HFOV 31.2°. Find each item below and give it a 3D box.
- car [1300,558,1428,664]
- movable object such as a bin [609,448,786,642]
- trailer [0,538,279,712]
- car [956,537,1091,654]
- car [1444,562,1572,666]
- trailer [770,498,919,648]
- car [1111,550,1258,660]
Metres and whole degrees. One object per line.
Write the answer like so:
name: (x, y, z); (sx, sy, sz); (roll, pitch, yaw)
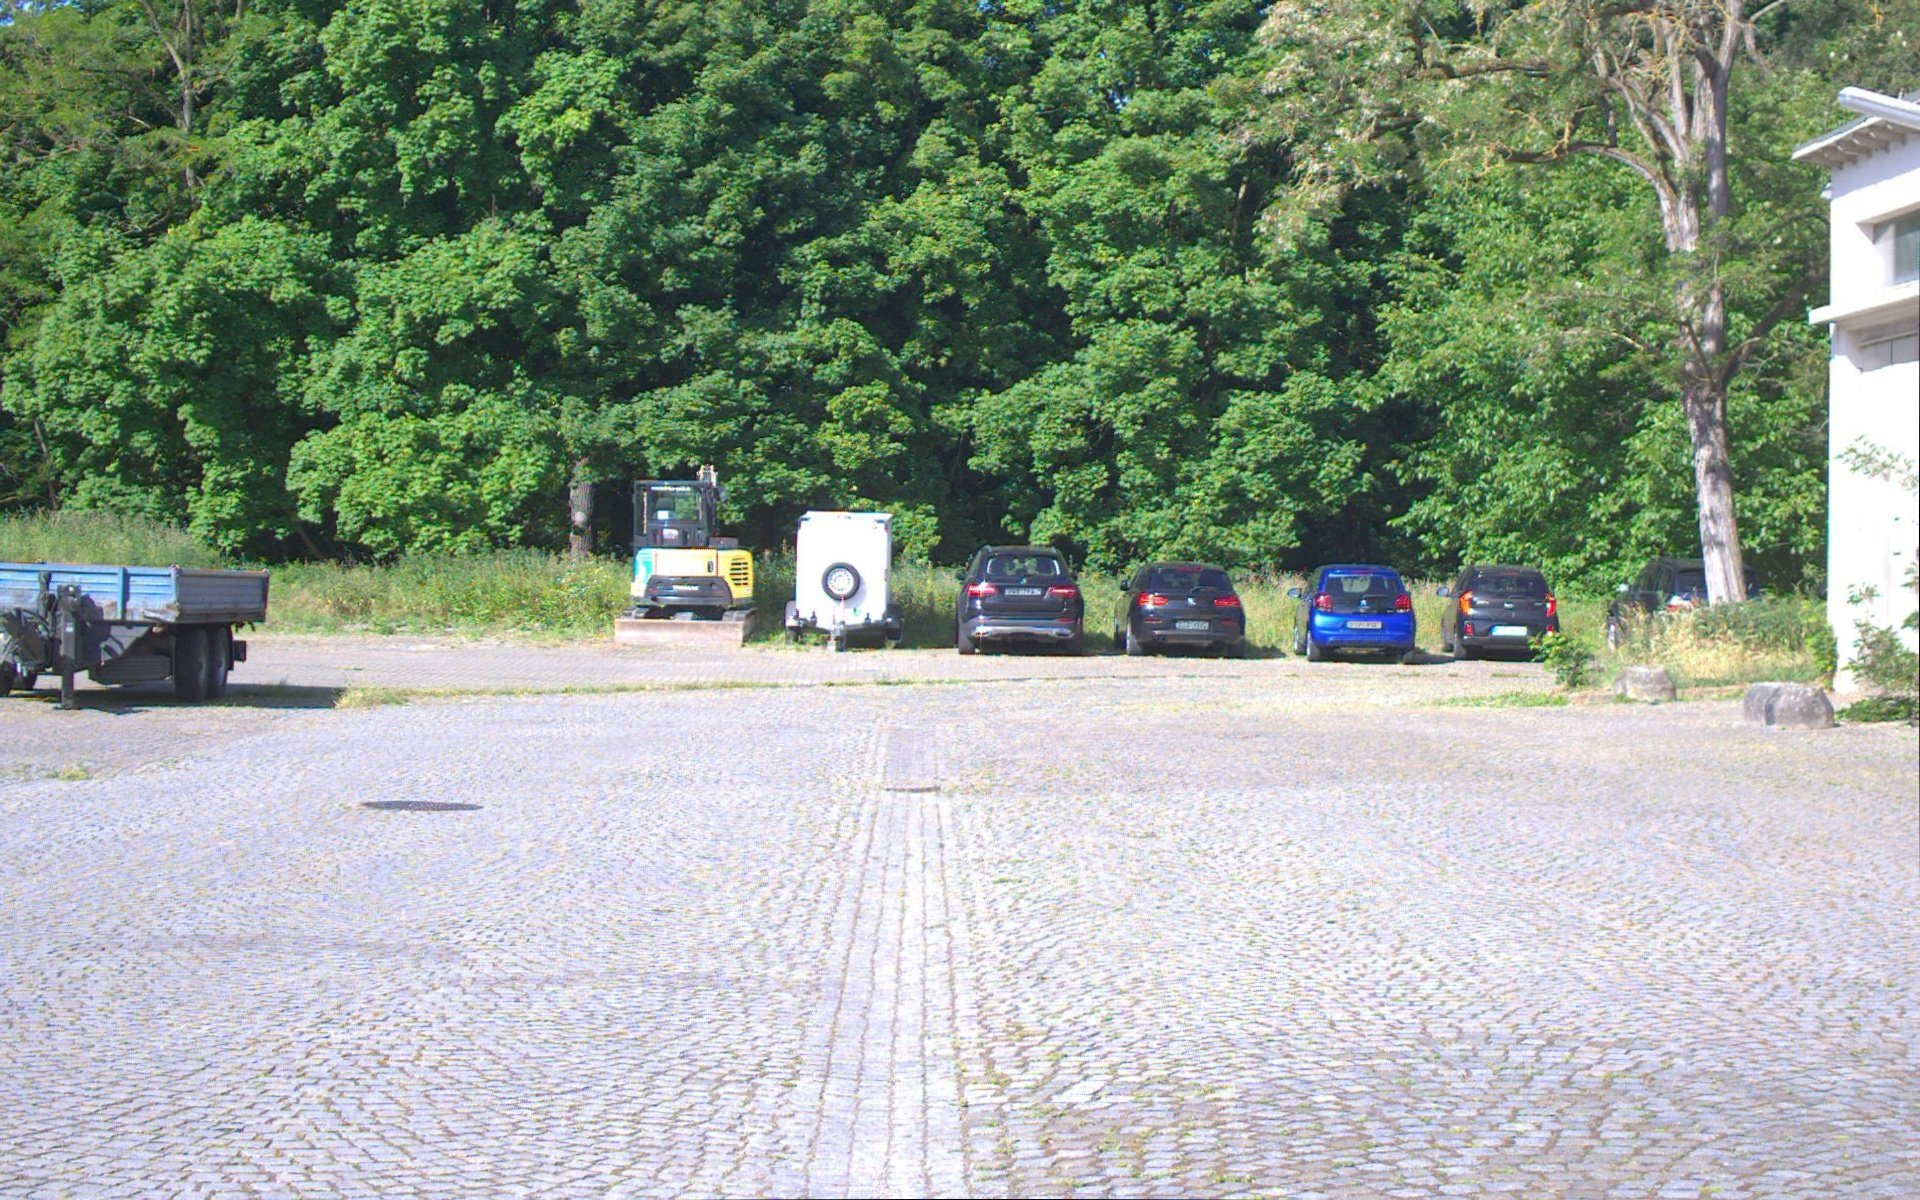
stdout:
car: (6.183, 0.135, 52.918); (1.744, 1.431, 4.182); (2, 2, 4)
movable object such as a bin: (-4.175, -0.932, 55.534); (2.306, 2.887, 5.751); (2, 2, 0)
trailer: (-8.792, 0.172, 34.843); (2.705, 1.460, 6.248); (2, 1, -2)
car: (0.932, -0.105, 52.589); (1.863, 1.584, 4.296); (2, 2, -1)
car: (8.619, 0.189, 54.337); (1.744, 1.431, 4.182); (2, 2, 6)
trailer: (-1.795, -0.493, 54.955); (2.193, 2.179, 5.752); (2, 2, -1)
car: (3.416, 0.044, 52.968); (1.863, 1.465, 4.296); (2, 2, -1)
